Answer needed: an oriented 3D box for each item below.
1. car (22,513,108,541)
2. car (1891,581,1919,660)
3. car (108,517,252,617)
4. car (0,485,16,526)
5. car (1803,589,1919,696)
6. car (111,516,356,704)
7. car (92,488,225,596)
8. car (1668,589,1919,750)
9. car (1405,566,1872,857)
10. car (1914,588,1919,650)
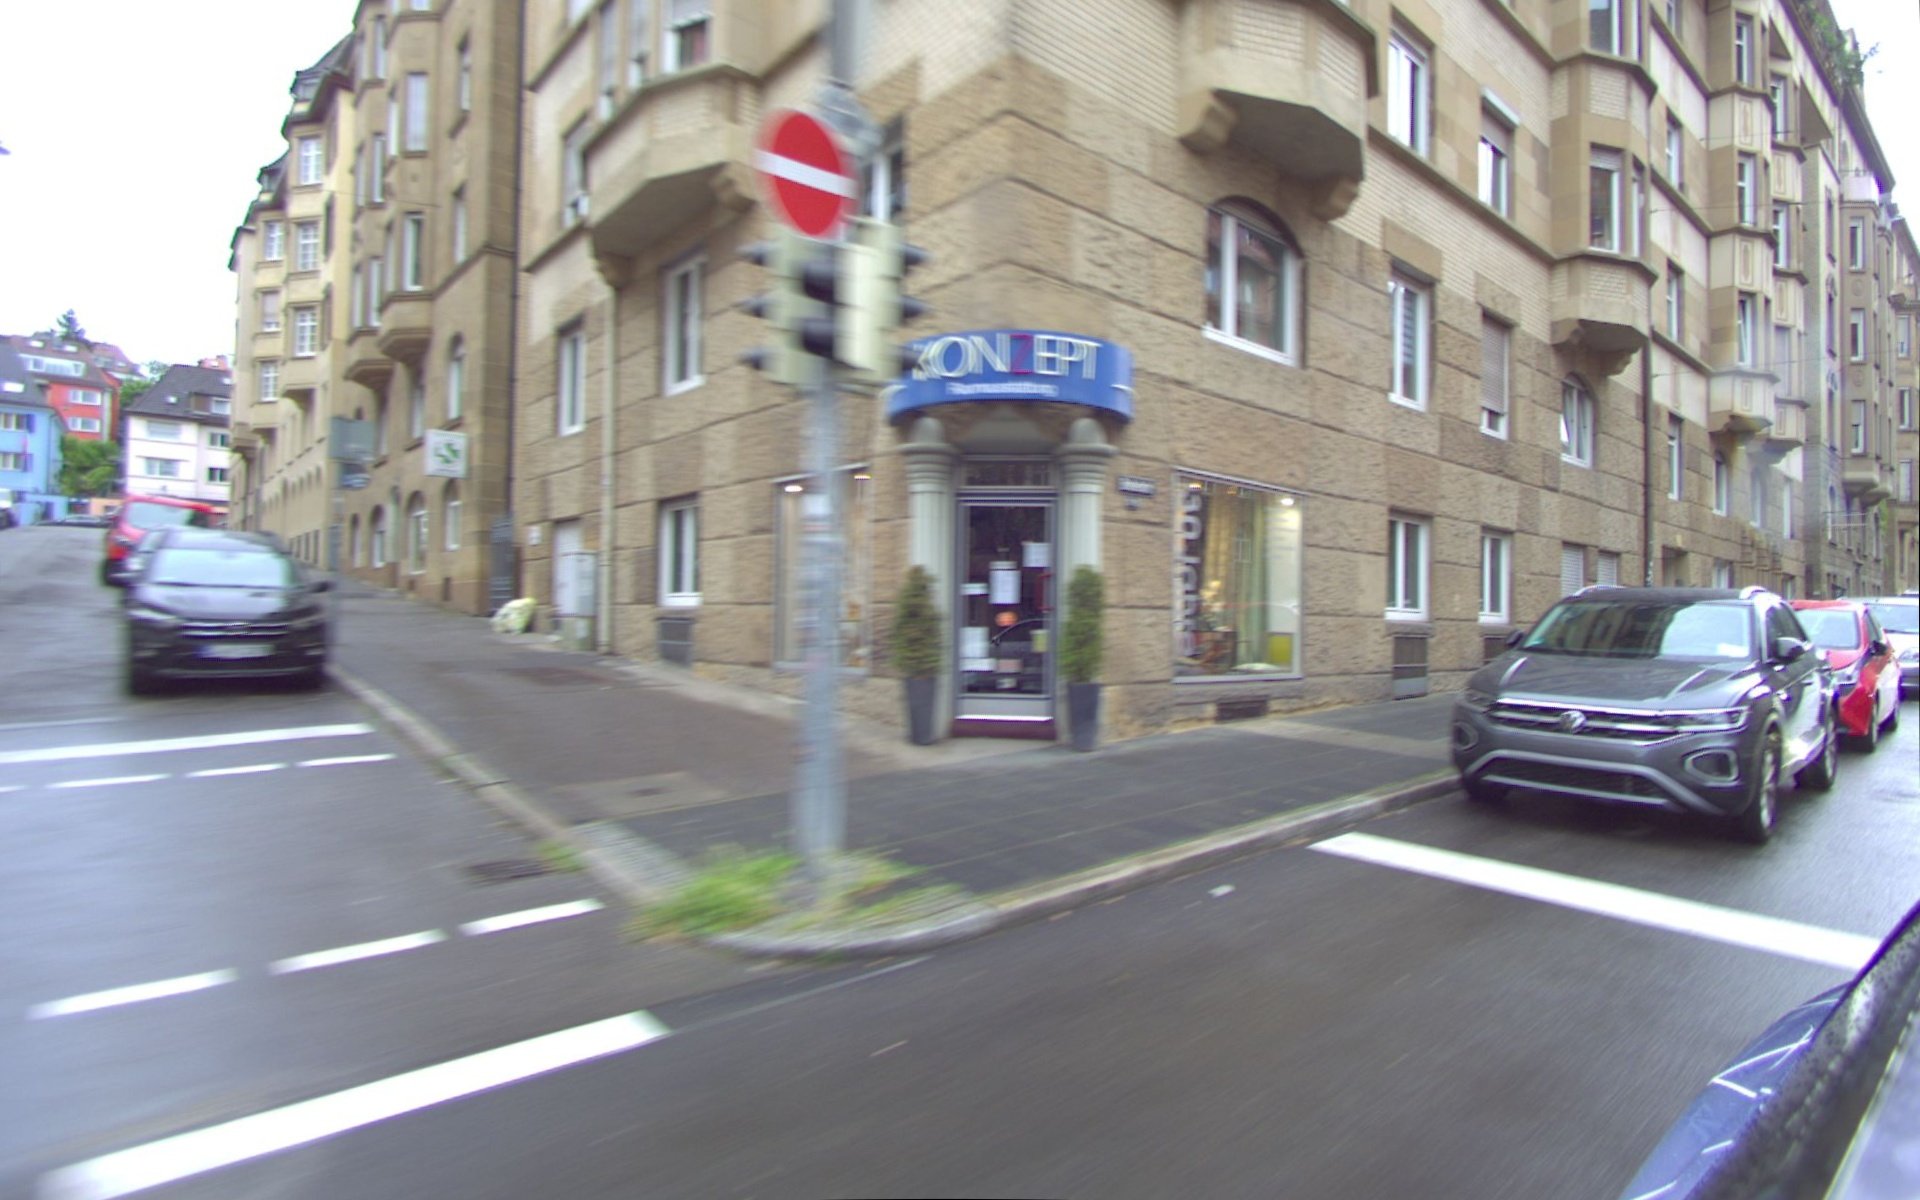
[{"bbox_3d":[-60.323,-4.928,68.261,4.282,1.669,1.999,0,4,-42],"label":"car"},{"bbox_3d":[21.600,0.414,21.914,3.932,1.621,1.772,-1,2,-42],"label":"car"},{"bbox_3d":[-14.994,-0.690,19.420,1.826,1.481,4.685,8,-1,-39],"label":"car"},{"bbox_3d":[-48.861,-4.758,50.789,1.945,2.020,4.366,-3,6,-41],"label":"car"},{"bbox_3d":[14.658,0.583,15.901,3.460,1.505,1.598,0,1,-40],"label":"car"},{"bbox_3d":[-8.388,-0.035,11.492,1.842,1.672,4.521,2,3,-41],"label":"car"},{"bbox_3d":[-18.808,-1.404,23.699,2.035,2.067,5.090,8,-1,-40],"label":"car"},{"bbox_3d":[9.236,0.627,11.115,3.473,1.471,1.707,-1,0,-43],"label":"car"},{"bbox_3d":[5.127,0.587,7.457,3.921,1.568,1.871,-1,0,-41],"label":"car"},{"bbox_3d":[25.096,0.442,25.224,3.471,1.530,1.630,-1,0,-42],"label":"car"}]
